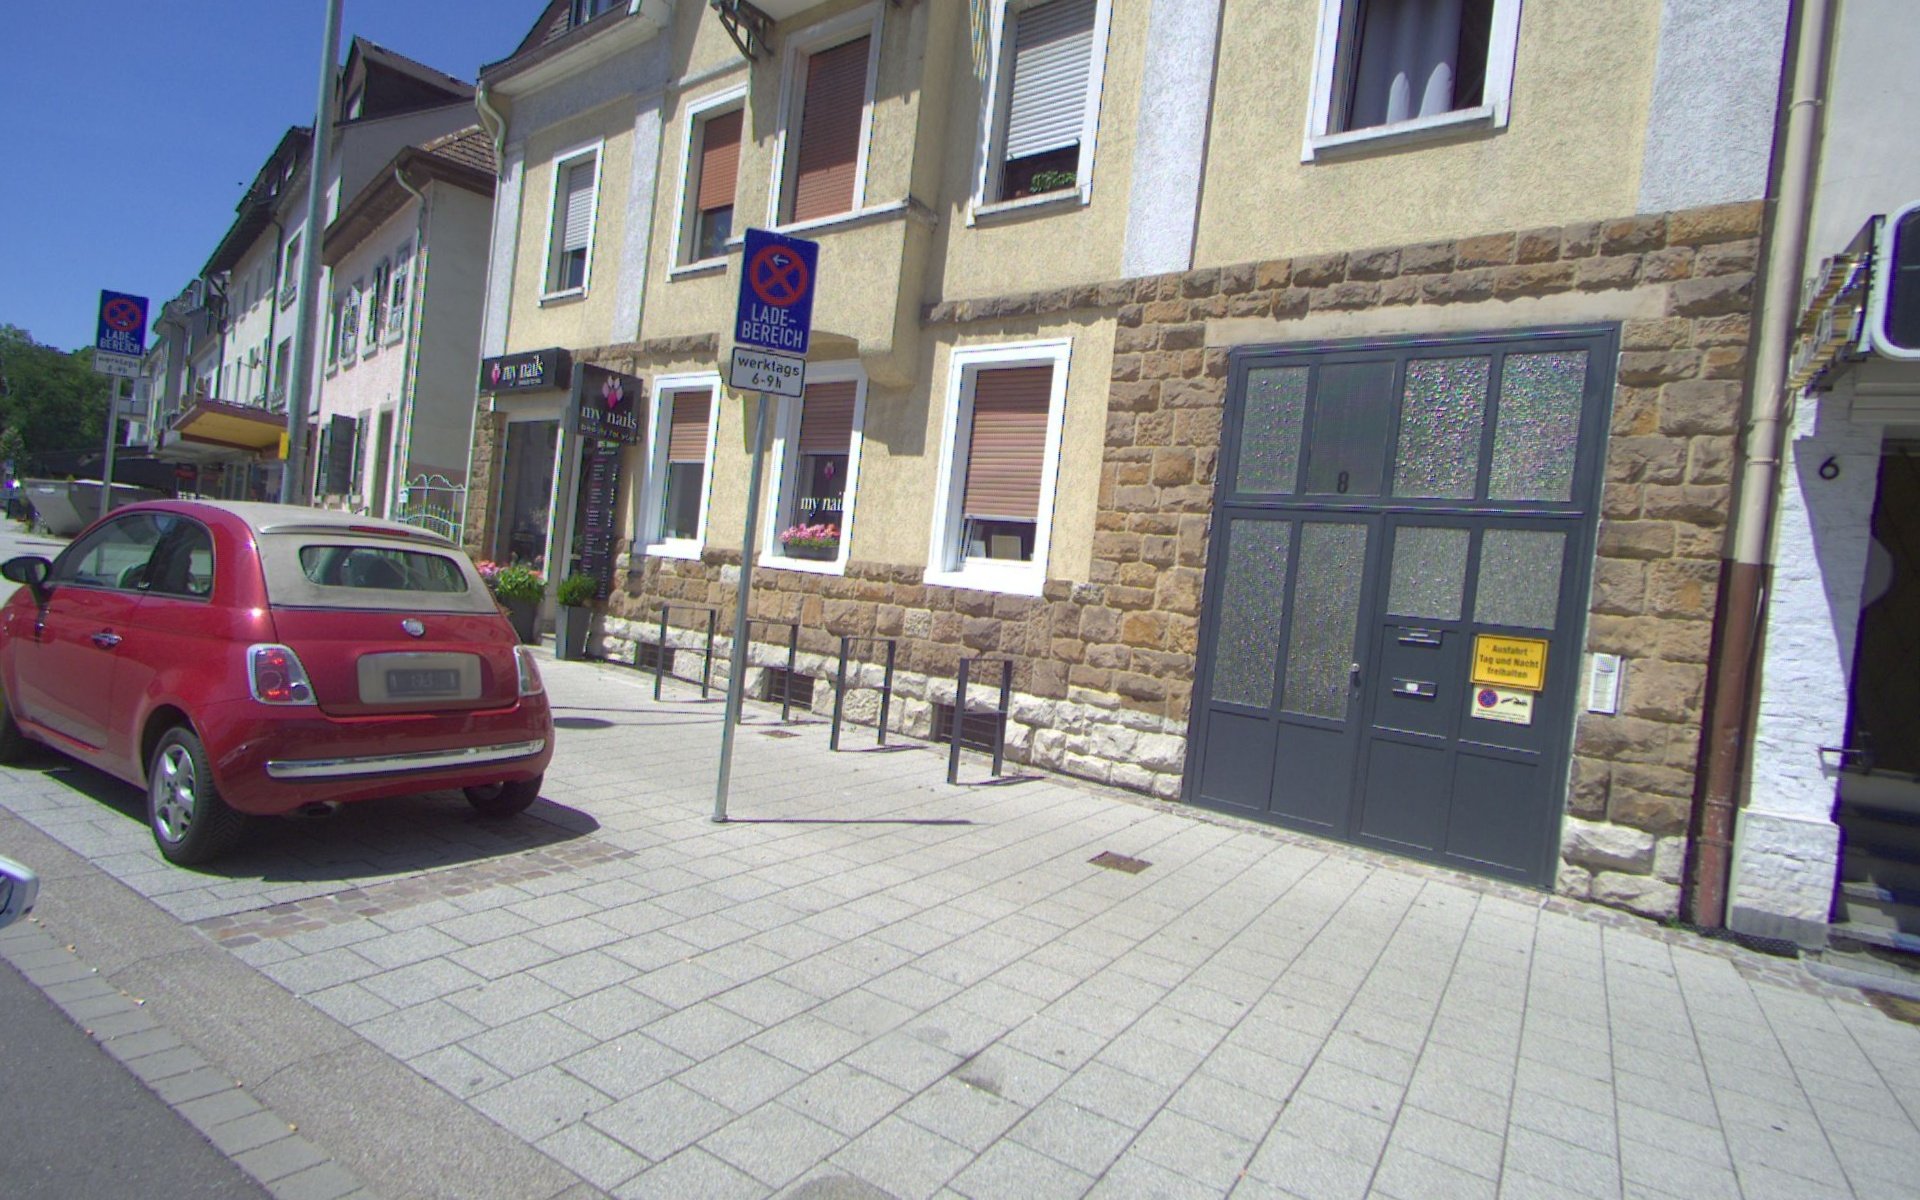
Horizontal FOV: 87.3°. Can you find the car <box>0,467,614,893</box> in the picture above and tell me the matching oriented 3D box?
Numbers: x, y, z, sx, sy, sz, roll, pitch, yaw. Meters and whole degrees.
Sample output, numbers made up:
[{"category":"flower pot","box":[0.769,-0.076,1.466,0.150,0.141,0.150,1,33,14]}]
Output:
[{"category":"car","box":[-3.702,0.210,5.379,3.330,1.534,1.679,7,2,31]}]

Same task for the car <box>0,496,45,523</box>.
[{"category":"car","box":[-60.514,-5.793,64.421,1.855,1.511,3.833,5,2,-27]}]

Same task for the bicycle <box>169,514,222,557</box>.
[{"category":"bicycle","box":[-25.213,-2.113,33.191,1.262,1.197,0.411,8,-2,-34]}]
